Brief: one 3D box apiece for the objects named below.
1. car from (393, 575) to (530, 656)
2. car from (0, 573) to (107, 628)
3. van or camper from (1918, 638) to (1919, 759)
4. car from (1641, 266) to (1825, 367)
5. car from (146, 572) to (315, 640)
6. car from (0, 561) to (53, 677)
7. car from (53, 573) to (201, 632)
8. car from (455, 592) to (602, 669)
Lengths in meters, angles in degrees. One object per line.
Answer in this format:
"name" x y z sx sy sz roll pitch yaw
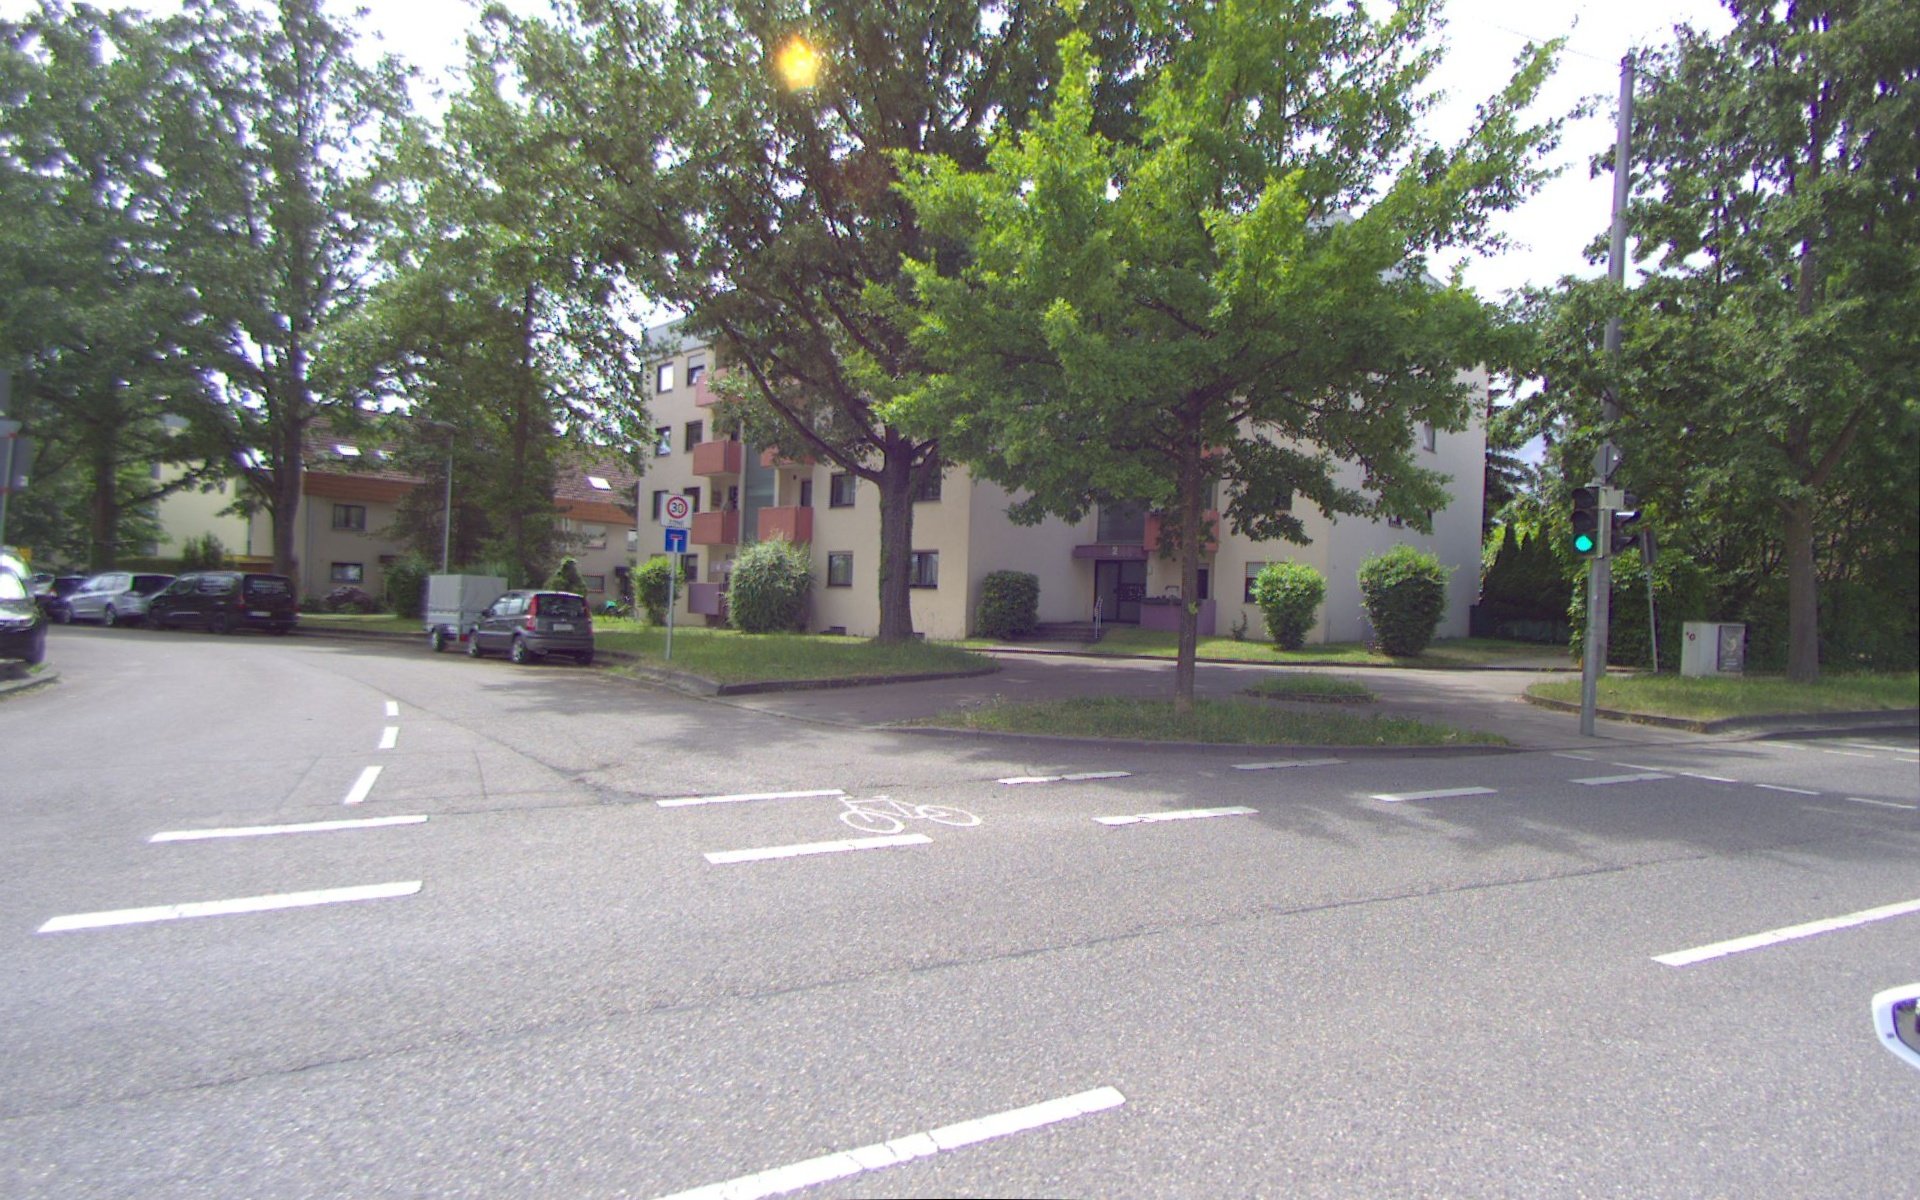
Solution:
"car" -12.491 0.411 25.075 3.944 1.869 1.835 -1 -2 43
"car" -31.451 -0.017 34.218 4.193 1.726 1.995 2 0 23
"van or camper" 13.523 0.996 11.770 4.320 1.800 1.856 1 0 -25
"car" 18.582 -6.732 24.156 3.946 1.347 1.823 4 1 -25
"car" -21.515 0.159 29.634 4.333 1.818 2.125 2 0 23
"car" -14.612 0.189 14.661 4.094 1.417 1.727 5 3 43
"car" -26.599 0.056 32.065 4.193 1.726 1.942 2 0 23
"car" -9.506 0.611 21.983 1.685 1.472 3.948 1 0 -44
